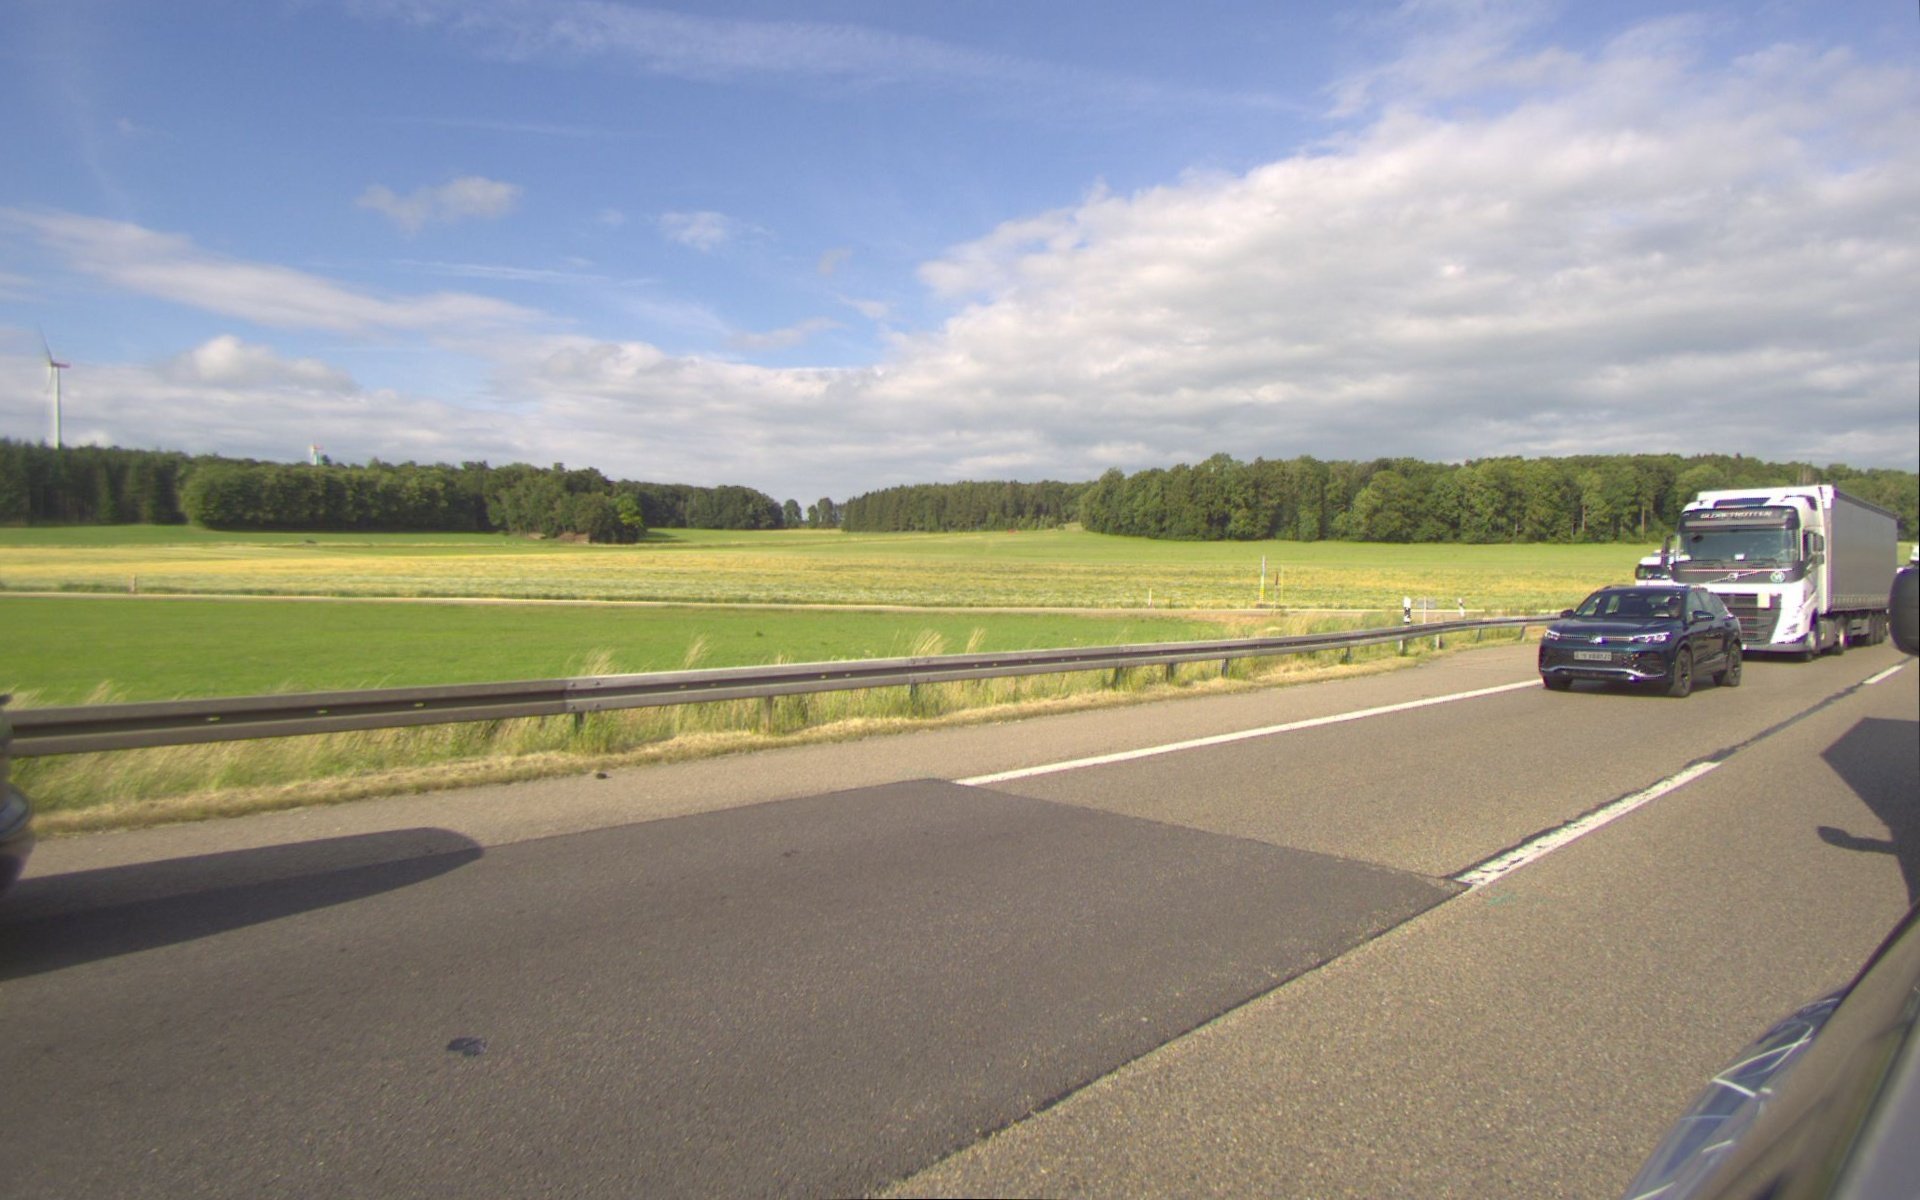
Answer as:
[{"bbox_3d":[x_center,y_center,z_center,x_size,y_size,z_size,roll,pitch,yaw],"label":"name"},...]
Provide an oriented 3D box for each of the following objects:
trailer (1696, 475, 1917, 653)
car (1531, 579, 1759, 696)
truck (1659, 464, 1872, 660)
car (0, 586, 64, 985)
[{"bbox_3d":[23.644,-0.884,27.893,11.916,4.032,2.824,-1,0,-41],"label":"trailer"},{"bbox_3d":[10.865,0.485,15.959,4.047,1.616,1.997,-1,1,-41],"label":"car"},{"bbox_3d":[19.303,-0.822,24.117,6.387,4.040,2.840,-1,0,-41],"label":"truck"},{"bbox_3d":[-5.322,0.694,3.192,3.711,1.464,1.712,-1,1,-43],"label":"car"}]
